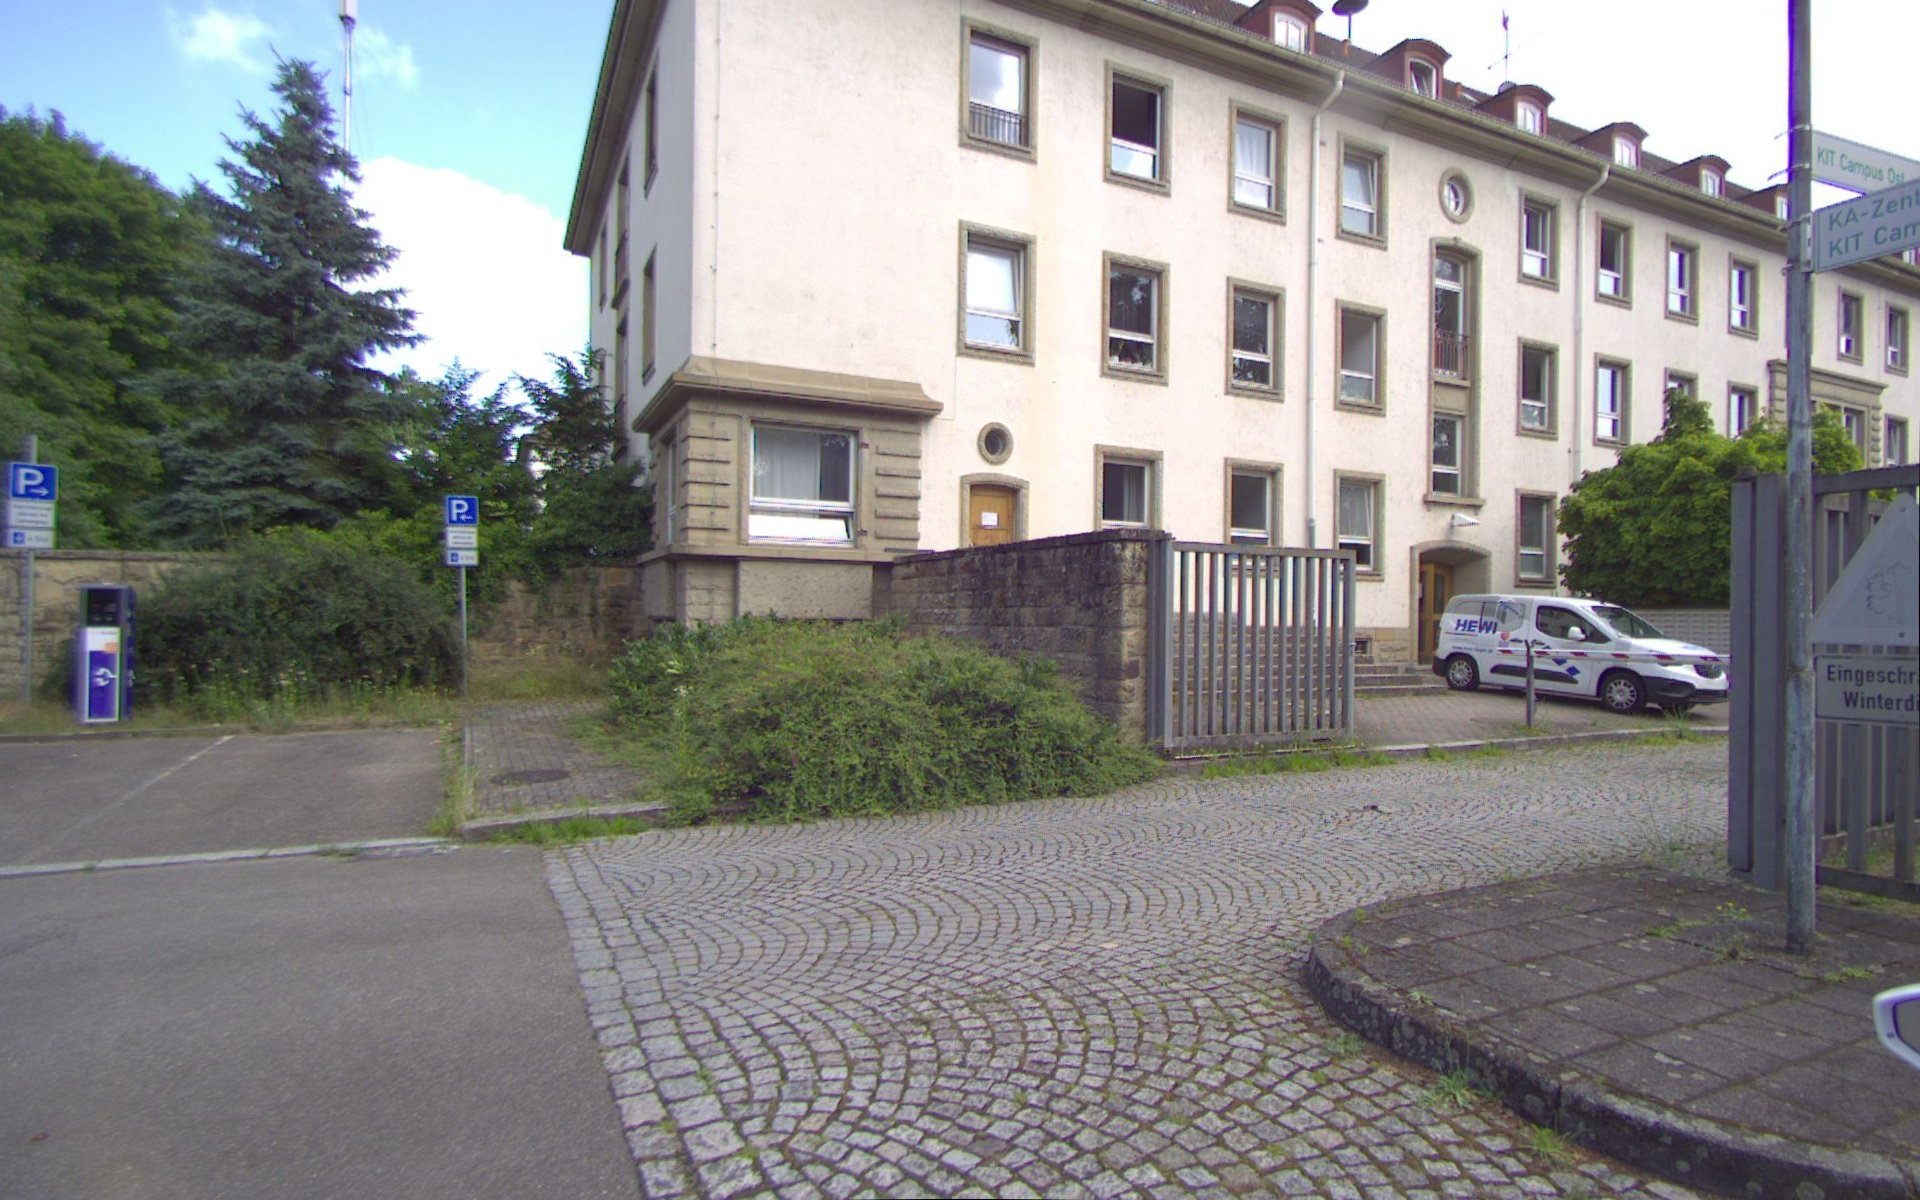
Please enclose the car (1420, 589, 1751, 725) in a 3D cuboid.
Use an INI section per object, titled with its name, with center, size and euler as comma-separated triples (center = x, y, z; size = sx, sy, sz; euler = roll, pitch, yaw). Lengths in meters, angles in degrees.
[car]
center = 10.466, 0.835, 17.213
size = 1.836, 1.775, 4.415
euler = 1, 3, -29
